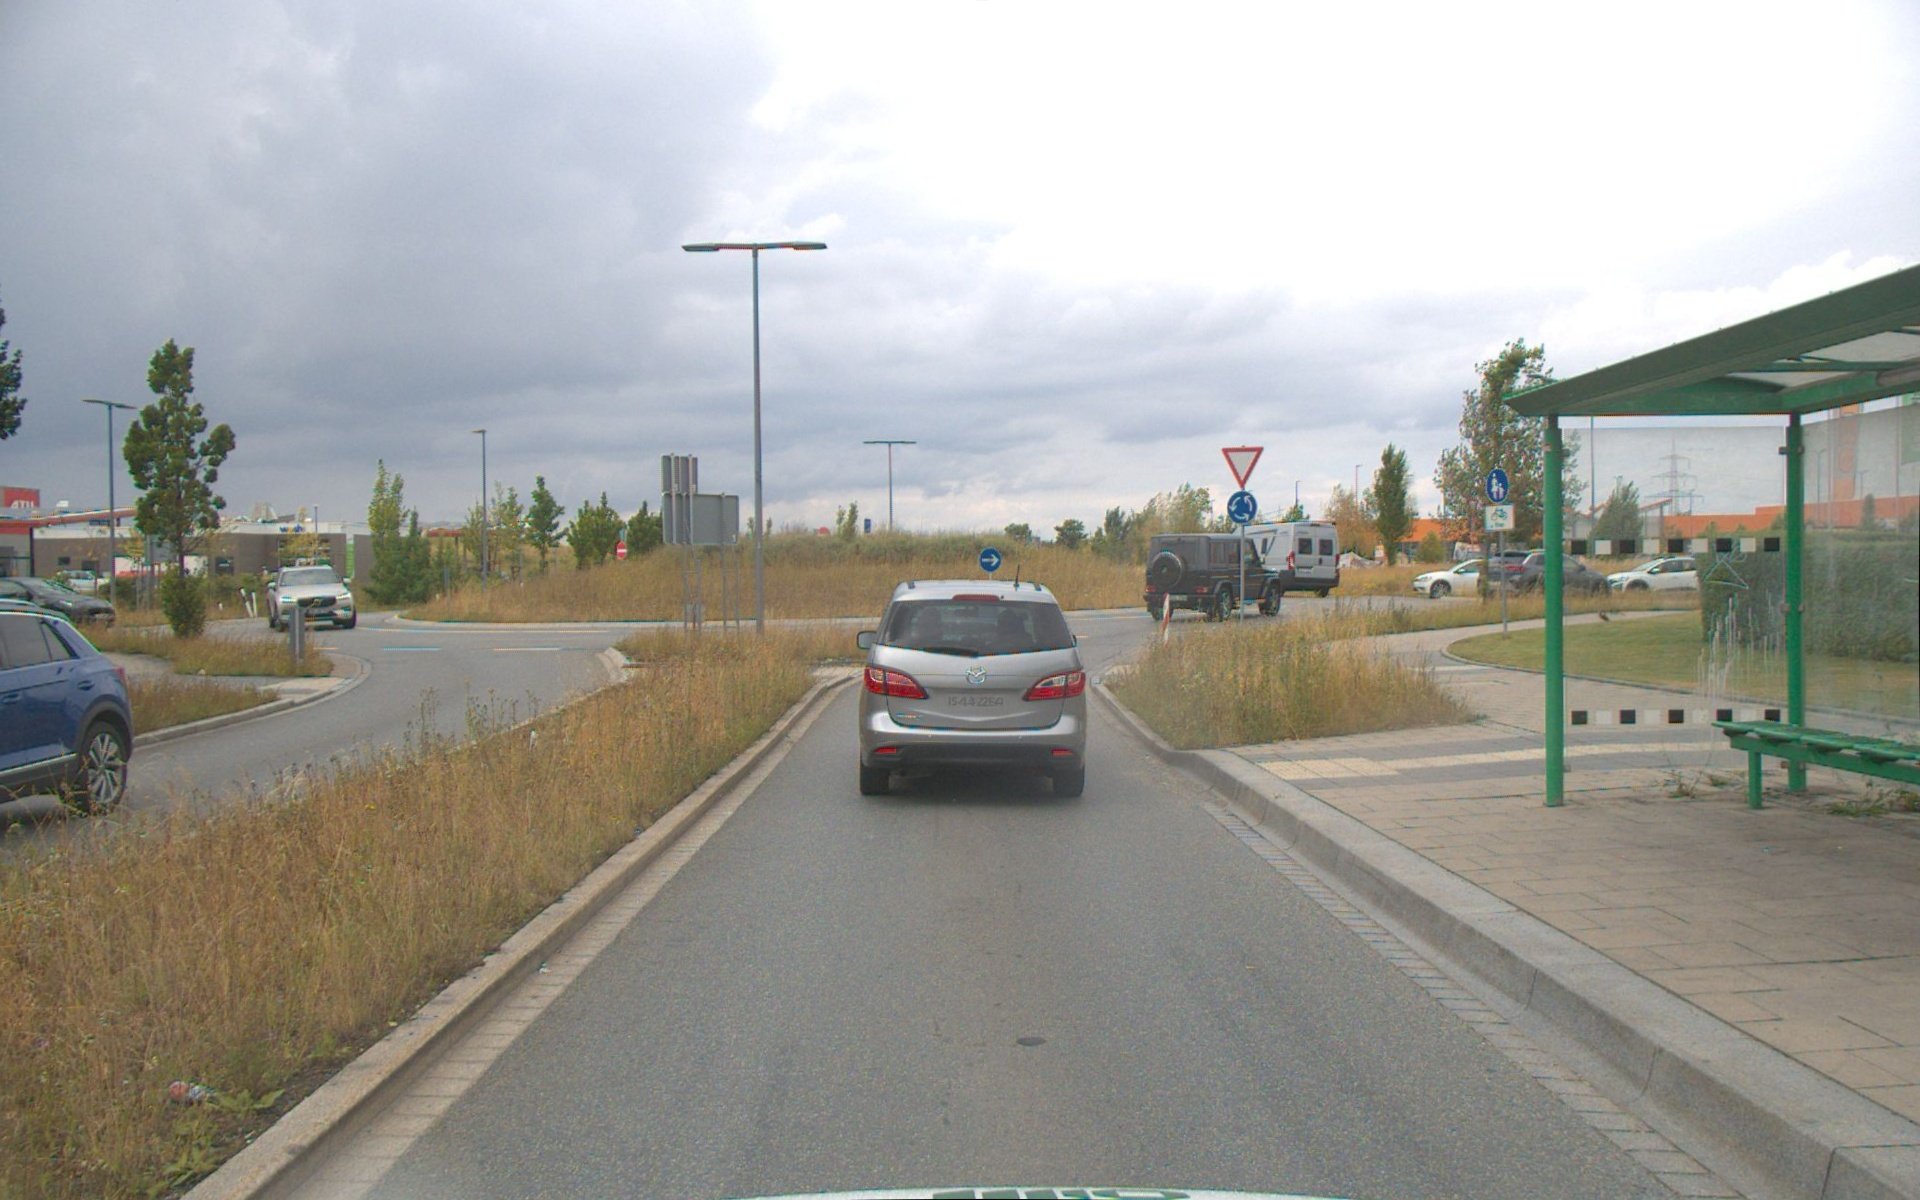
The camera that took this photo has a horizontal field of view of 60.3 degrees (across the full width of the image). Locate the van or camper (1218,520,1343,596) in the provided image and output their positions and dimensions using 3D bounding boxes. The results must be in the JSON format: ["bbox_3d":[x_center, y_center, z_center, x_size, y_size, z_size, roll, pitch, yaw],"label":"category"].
[{"bbox_3d":[11.273,-1.455,58.592,2.265,2.549,5.183,0,1,-16],"label":"van or camper"}]

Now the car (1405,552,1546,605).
[{"bbox_3d":[17.984,-0.748,57.877,4.503,1.788,2.002,0,0,10],"label":"car"}]

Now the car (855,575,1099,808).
[{"bbox_3d":[0.072,0.616,13.492,1.695,1.628,3.806,0,1,-2],"label":"car"}]

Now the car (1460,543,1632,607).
[{"bbox_3d":[16.497,-0.723,46.665,4.118,1.620,2.058,-2,1,-14],"label":"car"}]

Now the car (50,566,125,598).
[{"bbox_3d":[-57.736,-1.192,109.478,3.906,2.049,1.999,0,1,-2],"label":"car"}]

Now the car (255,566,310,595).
[{"bbox_3d":[-44.528,-1.267,108.756,1.952,1.892,4.000,0,1,0],"label":"car"}]

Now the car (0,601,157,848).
[{"bbox_3d":[-6.976,0.823,10.453,1.804,1.555,4.226,-2,0,-2],"label":"car"}]

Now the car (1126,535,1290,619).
[{"bbox_3d":[5.944,-0.519,39.159,2.022,1.857,4.772,0,0,33],"label":"car"}]

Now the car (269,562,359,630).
[{"bbox_3d":[-17.202,-0.116,43.953,2.001,1.720,4.181,-1,0,-25],"label":"car"}]

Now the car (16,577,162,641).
[{"bbox_3d":[-21.659,0.182,41.066,4.332,1.510,1.772,0,1,41],"label":"car"}]

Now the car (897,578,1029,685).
[{"bbox_3d":[0.086,0.411,25.106,1.806,1.443,4.225,-1,1,1],"label":"car"}]

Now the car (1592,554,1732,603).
[{"bbox_3d":[24.296,-0.730,57.366,4.013,1.632,2.001,0,0,2],"label":"car"}]
